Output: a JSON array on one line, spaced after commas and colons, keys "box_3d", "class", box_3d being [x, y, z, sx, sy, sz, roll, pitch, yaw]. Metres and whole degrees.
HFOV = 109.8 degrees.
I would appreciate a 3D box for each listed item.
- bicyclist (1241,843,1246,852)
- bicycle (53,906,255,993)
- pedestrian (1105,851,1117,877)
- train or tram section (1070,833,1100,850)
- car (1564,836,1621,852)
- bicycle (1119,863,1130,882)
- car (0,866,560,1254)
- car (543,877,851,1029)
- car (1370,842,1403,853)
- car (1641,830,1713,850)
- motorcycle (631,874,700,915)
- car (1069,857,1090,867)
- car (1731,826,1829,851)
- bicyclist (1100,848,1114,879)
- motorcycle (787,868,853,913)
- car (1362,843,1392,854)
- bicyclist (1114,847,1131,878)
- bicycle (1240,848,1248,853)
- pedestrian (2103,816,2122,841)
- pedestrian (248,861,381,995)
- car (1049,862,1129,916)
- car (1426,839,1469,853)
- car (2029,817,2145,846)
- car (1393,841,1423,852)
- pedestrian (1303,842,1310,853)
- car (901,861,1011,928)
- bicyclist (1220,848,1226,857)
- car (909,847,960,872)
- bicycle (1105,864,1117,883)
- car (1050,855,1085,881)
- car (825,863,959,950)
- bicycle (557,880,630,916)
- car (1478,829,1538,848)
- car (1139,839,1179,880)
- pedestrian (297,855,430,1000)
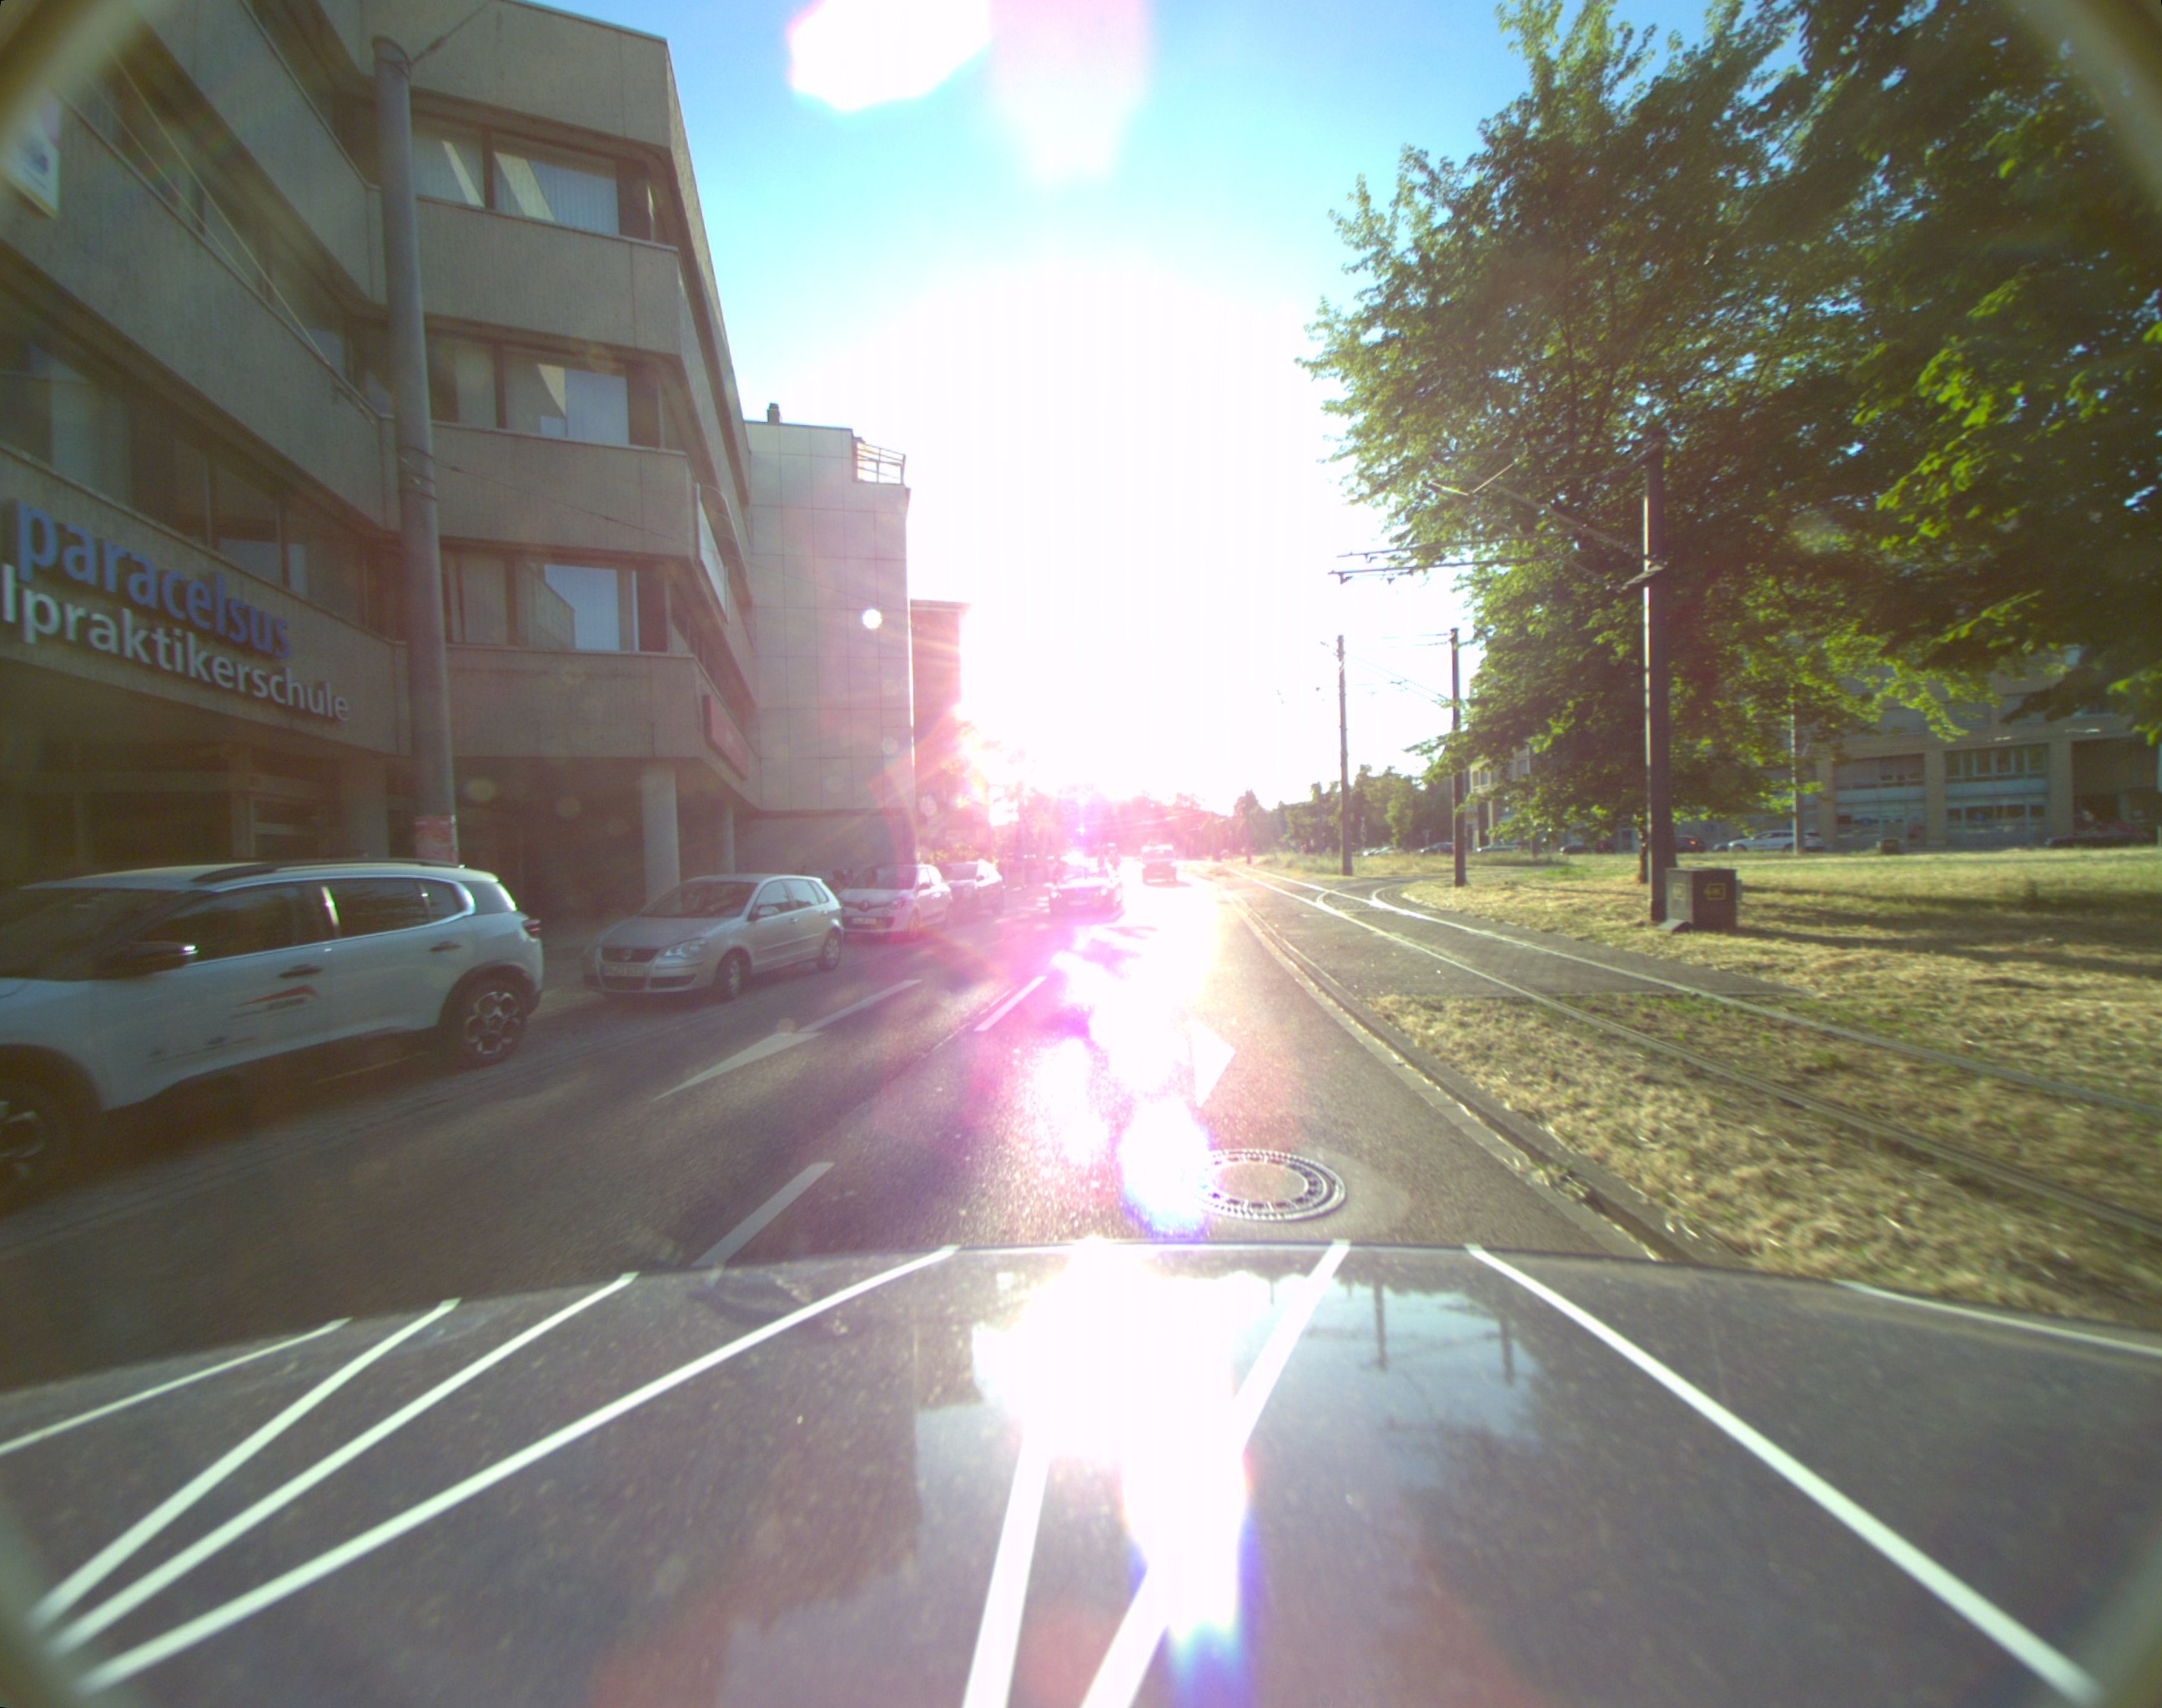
[{"box_3d": [32.464, -1.230, 151.546, 0.575, 1.816, 0.893, -4, 1, -17], "class": "bicyclist"}, {"box_3d": [-13.197, 1.331, 10.891, 1.762, 1.066, 0.483, -1, 0, -32], "class": "bicycle"}, {"box_3d": [1.952, 0.642, 49.960, 0.640, 1.639, 0.843, -3, 1, -3], "class": "pedestrian"}, {"box_3d": [0.748, -2.804, 172.134, 2.784, 3.515, 13.232, -3, 0, -17], "class": "train or tram section"}, {"box_3d": [41.129, -0.807, 61.204, 1.526, 1.147, 3.593, -2, 0, -18], "class": "car"}, {"box_3d": [2.543, 1.066, 44.585, 0.479, 1.022, 1.981, -2, 0, -1], "class": "bicycle"}, {"box_3d": [-5.826, 0.983, 4.652, 1.871, 1.704, 4.506, 0, 1, 6], "class": "car"}, {"box_3d": [-4.665, 1.094, 9.953, 1.665, 1.433, 3.857, 0, 1, 9], "class": "car"}, {"box_3d": [43.927, -0.959, 109.141, 4.001, 1.412, 1.900, -2, 0, -13], "class": "car"}, {"box_3d": [42.894, -0.985, 54.789, 1.652, 1.274, 3.734, -2, 0, -19], "class": "car"}, {"box_3d": [-12.803, 1.253, 23.424, 2.016, 1.198, 0.530, -2, 1, 16], "class": "motorcycle"}, {"box_3d": [-0.254, 1.287, 121.125, 1.845, 1.393, 4.576, -5, 1, -19], "class": "car"}, {"box_3d": [44.982, -0.979, 49.016, 1.778, 1.473, 4.301, -2, 0, -22], "class": "car"}, {"box_3d": [1.516, 0.550, 44.831, 0.675, 1.797, 0.993, -2, 1, -2], "class": "bicyclist"}, {"box_3d": [-7.939, 1.110, 23.117, 1.788, 1.323, 0.583, -1, 1, -5], "class": "motorcycle"}, {"box_3d": [45.085, -0.843, 115.771, 4.002, 1.412, 1.900, -2, 0, -16], "class": "car"}, {"box_3d": [2.419, 0.499, 44.649, 0.828, 1.797, 1.057, -2, 1, -2], "class": "bicyclist"}, {"box_3d": [32.519, -0.694, 151.460, 0.525, 1.020, 1.927, -6, 1, -17], "class": "bicycle"}, {"box_3d": [58.756, -1.456, 43.278, 0.415, 1.422, 0.484, -2, 1, -16], "class": "pedestrian"}, {"box_3d": [-10.017, 0.934, 9.965, 0.992, 1.663, 0.641, -1, 1, -7], "class": "pedestrian"}, {"box_3d": [0.333, 0.973, 22.392, 1.775, 1.300, 4.242, -2, 0, 8], "class": "car"}, {"box_3d": [36.534, -0.795, 75.826, 1.731, 1.275, 3.783, -2, 0, -16], "class": "car"}, {"box_3d": [54.847, -1.182, 41.502, 1.556, 1.346, 3.515, -3, 0, -21], "class": "car"}, {"box_3d": [50.320, -1.104, 116.860, 4.002, 1.576, 1.823, -2, 0, -17], "class": "car"}, {"box_3d": [35.427, -1.046, 119.607, 0.738, 1.663, 0.717, -2, 1, -14], "class": "pedestrian"}, {"box_3d": [-3.268, 1.023, 20.782, 1.785, 1.547, 4.237, 0, 1, 8], "class": "car"}, {"box_3d": [24.487, -0.260, 131.198, 0.522, 1.574, 0.819, -4, 1, -34], "class": "bicyclist"}, {"box_3d": [-16.249, 0.627, 84.182, 5.270, 2.468, 1.923, -2, 0, -16], "class": "car"}, {"box_3d": [1.948, 1.266, 50.014, 0.530, 1.152, 1.848, -4, 2, -4], "class": "bicycle"}, {"box_3d": [-0.767, 0.806, 46.032, 1.732, 1.463, 3.900, 0, 1, 4], "class": "car"}, {"box_3d": [-3.896, 1.019, 16.249, 1.610, 1.547, 3.611, 0, 1, 6], "class": "car"}, {"box_3d": [-15.109, 1.347, 23.567, 1.870, 1.068, 0.484, -1, 0, -6], "class": "bicycle"}, {"box_3d": [38.524, -1.372, 68.752, 1.895, 1.472, 4.776, -3, 0, -15], "class": "car"}, {"box_3d": [4.252, 0.251, 41.032, 1.919, 1.978, 4.949, -2, 0, 7], "class": "car"}, {"box_3d": [-9.084, 0.882, 9.673, 0.699, 1.717, 1.032, -1, 1, -7], "class": "pedestrian"}]
